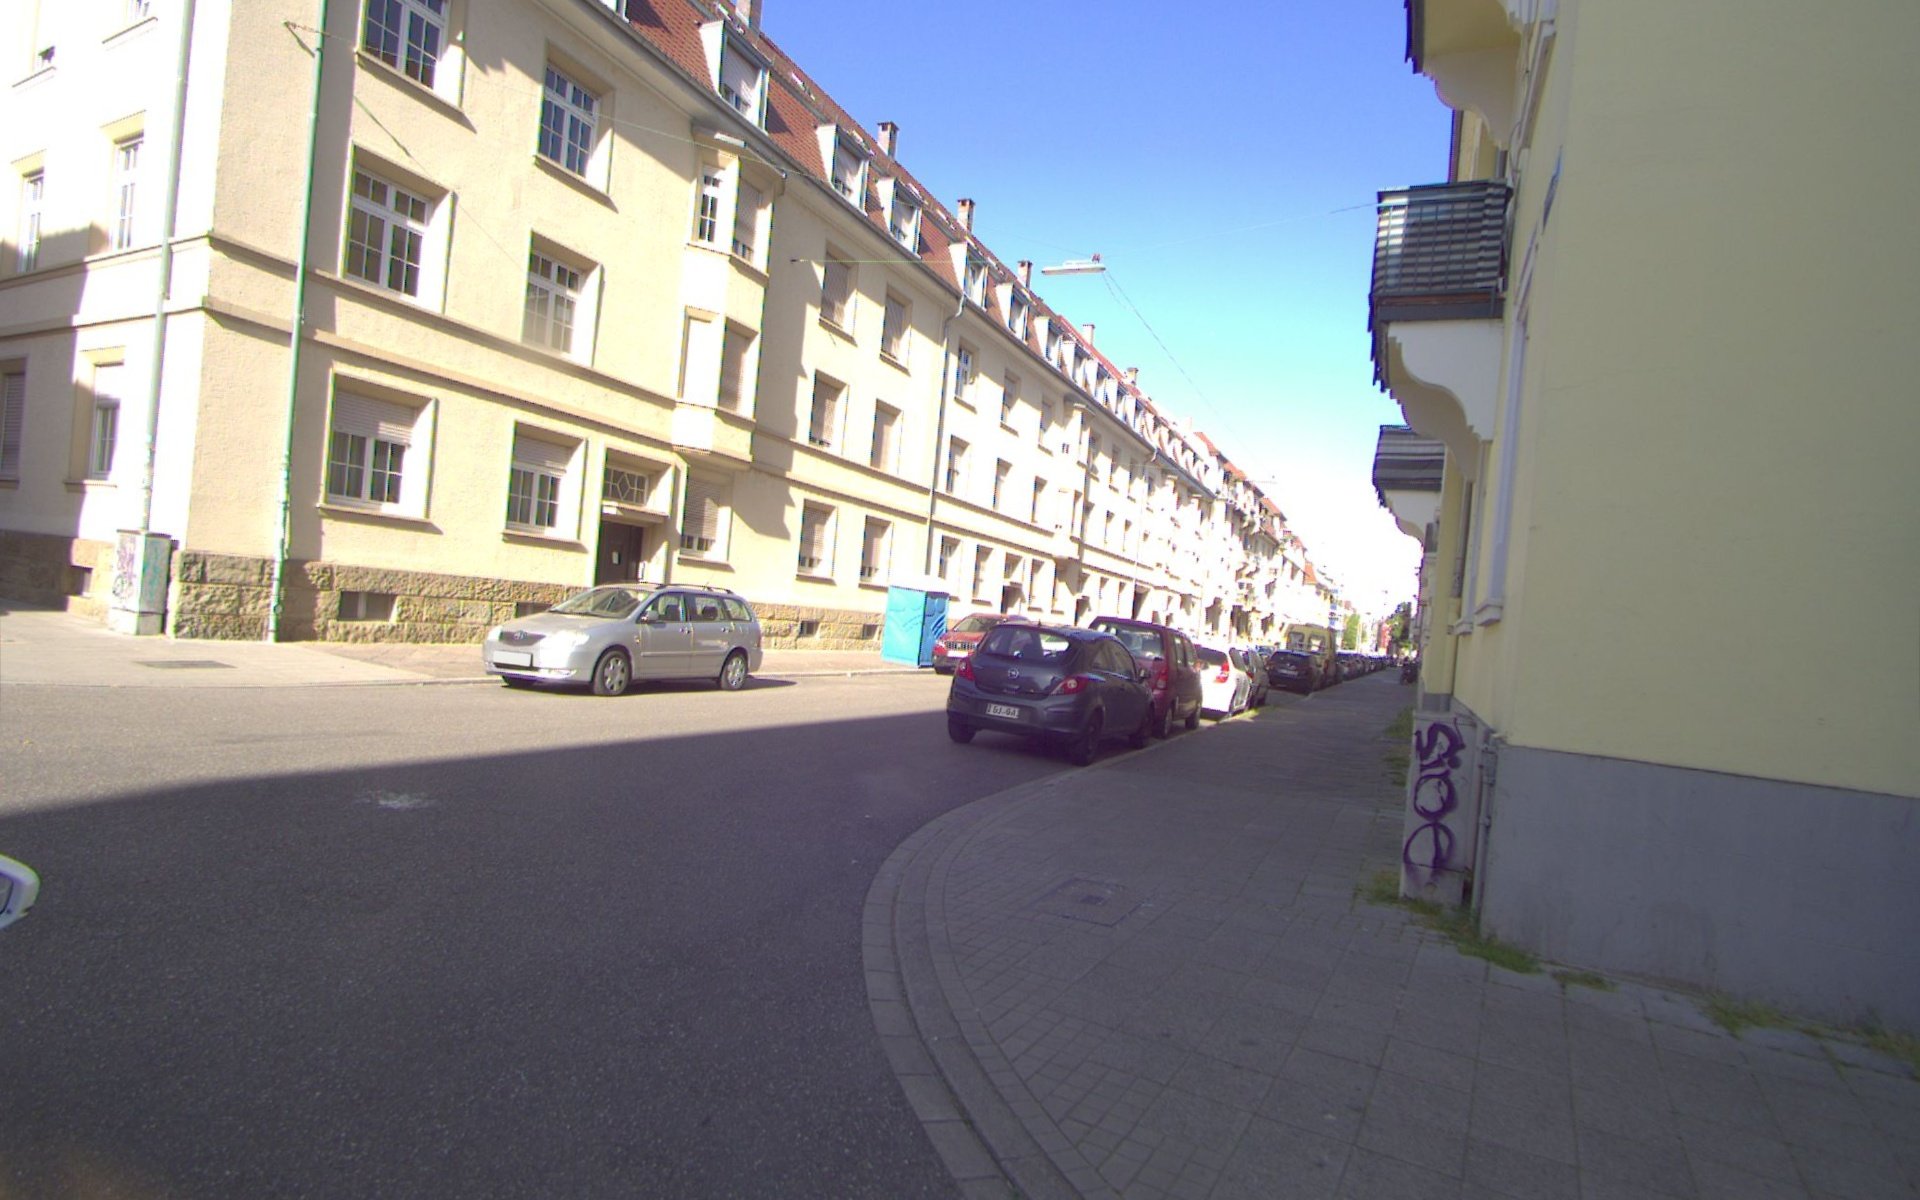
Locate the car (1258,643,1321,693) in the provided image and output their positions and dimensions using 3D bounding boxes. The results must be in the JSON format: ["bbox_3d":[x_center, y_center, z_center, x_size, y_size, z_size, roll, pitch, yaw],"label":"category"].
[{"bbox_3d":[11.838,2.398,35.994,1.662,1.451,3.865,8,0,23],"label":"car"}]

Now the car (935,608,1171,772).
[{"bbox_3d":[1.290,1.011,12.243,1.662,1.486,3.632,8,0,23],"label":"car"}]

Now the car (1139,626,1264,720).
[{"bbox_3d":[4.971,1.431,20.329,1.662,1.490,3.865,8,0,23],"label":"car"}]

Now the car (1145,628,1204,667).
[{"bbox_3d":[9.640,2.142,45.044,1.722,1.547,4.123,4,-1,23],"label":"car"}]

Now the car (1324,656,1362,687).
[{"bbox_3d":[21.107,3.909,55.384,1.662,1.451,3.865,8,0,23],"label":"car"}]

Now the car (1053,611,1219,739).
[{"bbox_3d":[2.942,1.152,16.188,1.662,1.619,3.632,8,0,23],"label":"car"}]

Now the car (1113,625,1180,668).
[{"bbox_3d":[7.661,1.920,41.022,1.722,1.547,4.123,4,-1,23],"label":"car"}]

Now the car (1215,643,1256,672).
[{"bbox_3d":[16.426,3.397,59.944,1.722,1.547,4.123,4,-1,23],"label":"car"}]

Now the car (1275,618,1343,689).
[{"bbox_3d":[14.264,2.168,40.986,1.990,2.474,4.925,8,0,23],"label":"car"}]

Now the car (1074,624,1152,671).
[{"bbox_3d":[5.572,1.723,36.316,1.722,1.488,4.123,4,-1,23],"label":"car"}]

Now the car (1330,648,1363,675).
[{"bbox_3d":[24.838,3.939,64.554,1.662,1.451,3.865,8,0,23],"label":"car"}]

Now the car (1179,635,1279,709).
[{"bbox_3d":[6.666,1.723,24.689,1.662,1.451,3.865,8,0,23],"label":"car"}]

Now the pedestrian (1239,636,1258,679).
[{"bbox_3d":[11.983,2.395,41.777,0.522,1.738,0.609,6,1,23],"label":"pedestrian"}]

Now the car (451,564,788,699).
[{"bbox_3d":[-4.460,0.468,14.028,1.796,1.486,4.549,4,-1,23],"label":"car"}]

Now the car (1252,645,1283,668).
[{"bbox_3d":[22.901,4.230,74.887,1.722,1.547,4.123,4,-1,23],"label":"car"}]

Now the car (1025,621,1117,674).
[{"bbox_3d":[3.645,1.534,32.371,1.722,1.488,4.123,4,-1,23],"label":"car"}]

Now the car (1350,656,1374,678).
[{"bbox_3d":[35.061,5.839,87.797,1.662,1.624,3.865,8,0,23],"label":"car"}]

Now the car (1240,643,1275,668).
[{"bbox_3d":[20.508,3.838,69.224,1.722,1.547,4.123,4,-1,23],"label":"car"}]

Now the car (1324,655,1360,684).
[{"bbox_3d":[22.848,4.112,60.073,1.662,1.451,3.865,8,0,23],"label":"car"}]

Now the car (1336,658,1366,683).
[{"bbox_3d":[26.809,4.827,68.934,1.662,1.451,3.865,8,0,23],"label":"car"}]

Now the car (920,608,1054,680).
[{"bbox_3d":[0.811,1.132,25.759,1.795,1.573,4.549,4,-1,23],"label":"car"}]

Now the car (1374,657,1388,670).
[{"bbox_3d":[61.805,9.284,147.506,1.662,1.624,3.865,8,0,23],"label":"car"}]

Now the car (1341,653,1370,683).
[{"bbox_3d":[29.291,5.001,74.481,1.662,1.899,3.865,8,0,23],"label":"car"}]
